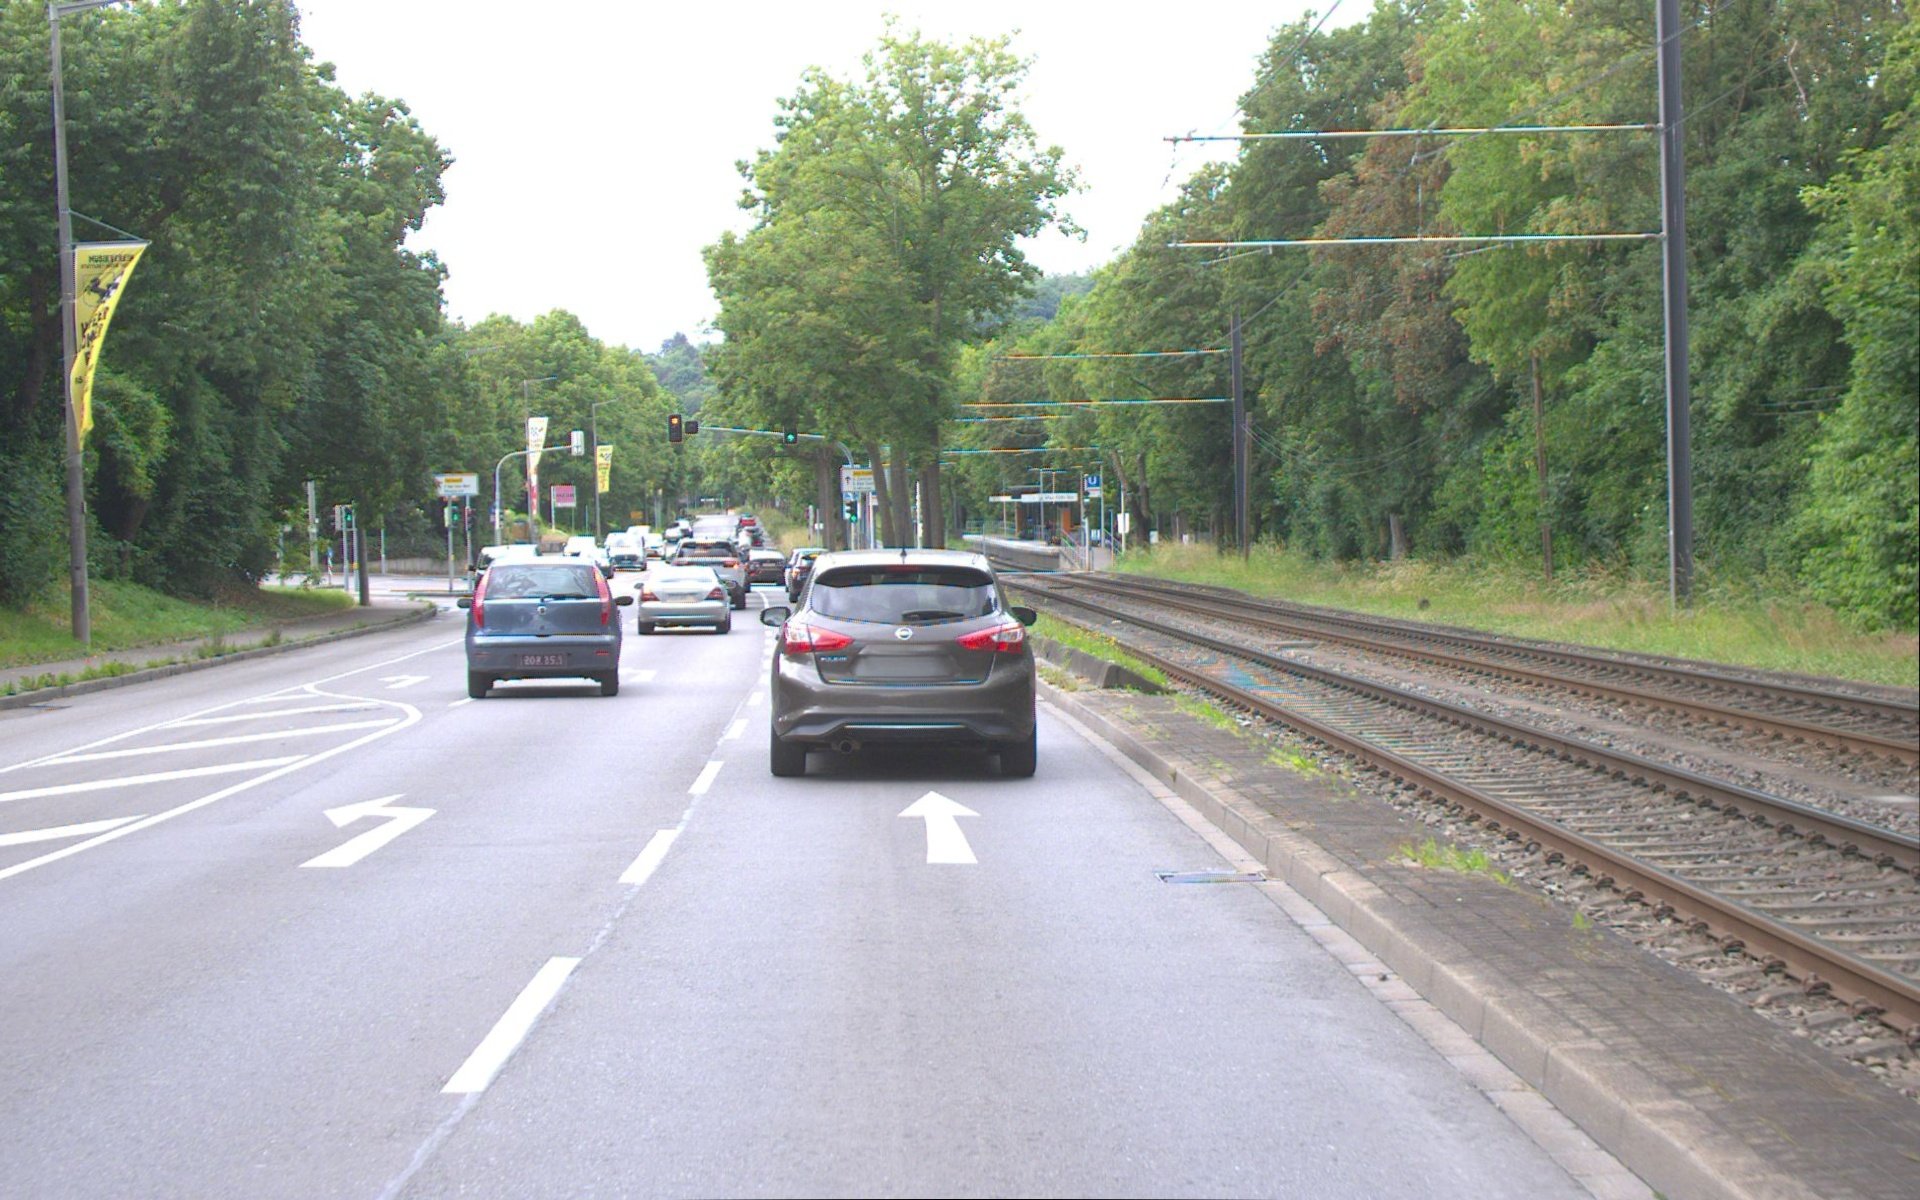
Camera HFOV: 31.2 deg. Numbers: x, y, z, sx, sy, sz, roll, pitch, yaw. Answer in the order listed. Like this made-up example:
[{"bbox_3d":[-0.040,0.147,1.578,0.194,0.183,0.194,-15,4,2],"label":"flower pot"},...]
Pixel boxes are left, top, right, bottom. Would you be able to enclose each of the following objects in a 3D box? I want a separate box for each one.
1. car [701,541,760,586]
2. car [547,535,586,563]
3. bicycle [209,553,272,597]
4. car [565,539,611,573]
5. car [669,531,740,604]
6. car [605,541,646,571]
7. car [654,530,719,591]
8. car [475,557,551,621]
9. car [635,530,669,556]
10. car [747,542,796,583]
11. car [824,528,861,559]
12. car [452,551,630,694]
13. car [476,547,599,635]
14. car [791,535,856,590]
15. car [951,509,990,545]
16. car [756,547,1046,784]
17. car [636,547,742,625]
[{"bbox_3d":[-7.862,-1.260,118.011,1.794,1.505,4.000,-1,1,-1],"label":"car"},{"bbox_3d":[-22.167,-2.884,193.631,1.715,1.545,4.000,-1,1,0],"label":"car"},{"bbox_3d":[-18.655,-0.645,89.198,0.499,1.104,1.797,0,1,30],"label":"bicycle"},{"bbox_3d":[-17.179,-2.037,158.974,1.715,1.545,4.000,-1,1,0],"label":"car"},{"bbox_3d":[-6.659,-0.846,89.897,1.715,1.857,4.000,-1,0,-3],"label":"car"},{"bbox_3d":[-17.317,-2.280,178.160,1.715,1.545,4.000,-1,1,0],"label":"car"},{"bbox_3d":[-8.551,-1.222,107.757,1.715,1.857,4.000,-1,0,0],"label":"car"},{"bbox_3d":[-12.465,-0.316,96.034,1.715,1.754,4.000,-1,0,-2],"label":"car"},{"bbox_3d":[-19.014,-3.488,212.239,1.715,1.545,4.000,-1,1,0],"label":"car"},{"bbox_3d":[-7.410,-1.469,135.218,1.715,1.545,4.000,-1,1,0],"label":"car"},{"bbox_3d":[-5.979,-2.886,175.279,1.715,1.545,4.000,-1,1,0],"label":"car"},{"bbox_3d":[-4.512,0.201,37.460,1.699,1.438,4.001,-1,1,-4],"label":"car"},{"bbox_3d":[-7.095,-0.165,58.085,1.715,1.430,4.000,-1,1,-2],"label":"car"},{"bbox_3d":[-3.884,-1.068,98.365,1.715,1.545,4.000,-1,1,0],"label":"car"},{"bbox_3d":[0.477,-3.458,163.920,1.715,1.657,3.708,-1,0,-2],"label":"car"},{"bbox_3d":[-0.375,0.388,24.037,1.850,1.488,4.000,0,1,0],"label":"car"},{"bbox_3d":[-5.168,-0.273,65.861,1.715,1.430,4.000,-1,1,0],"label":"car"}]
